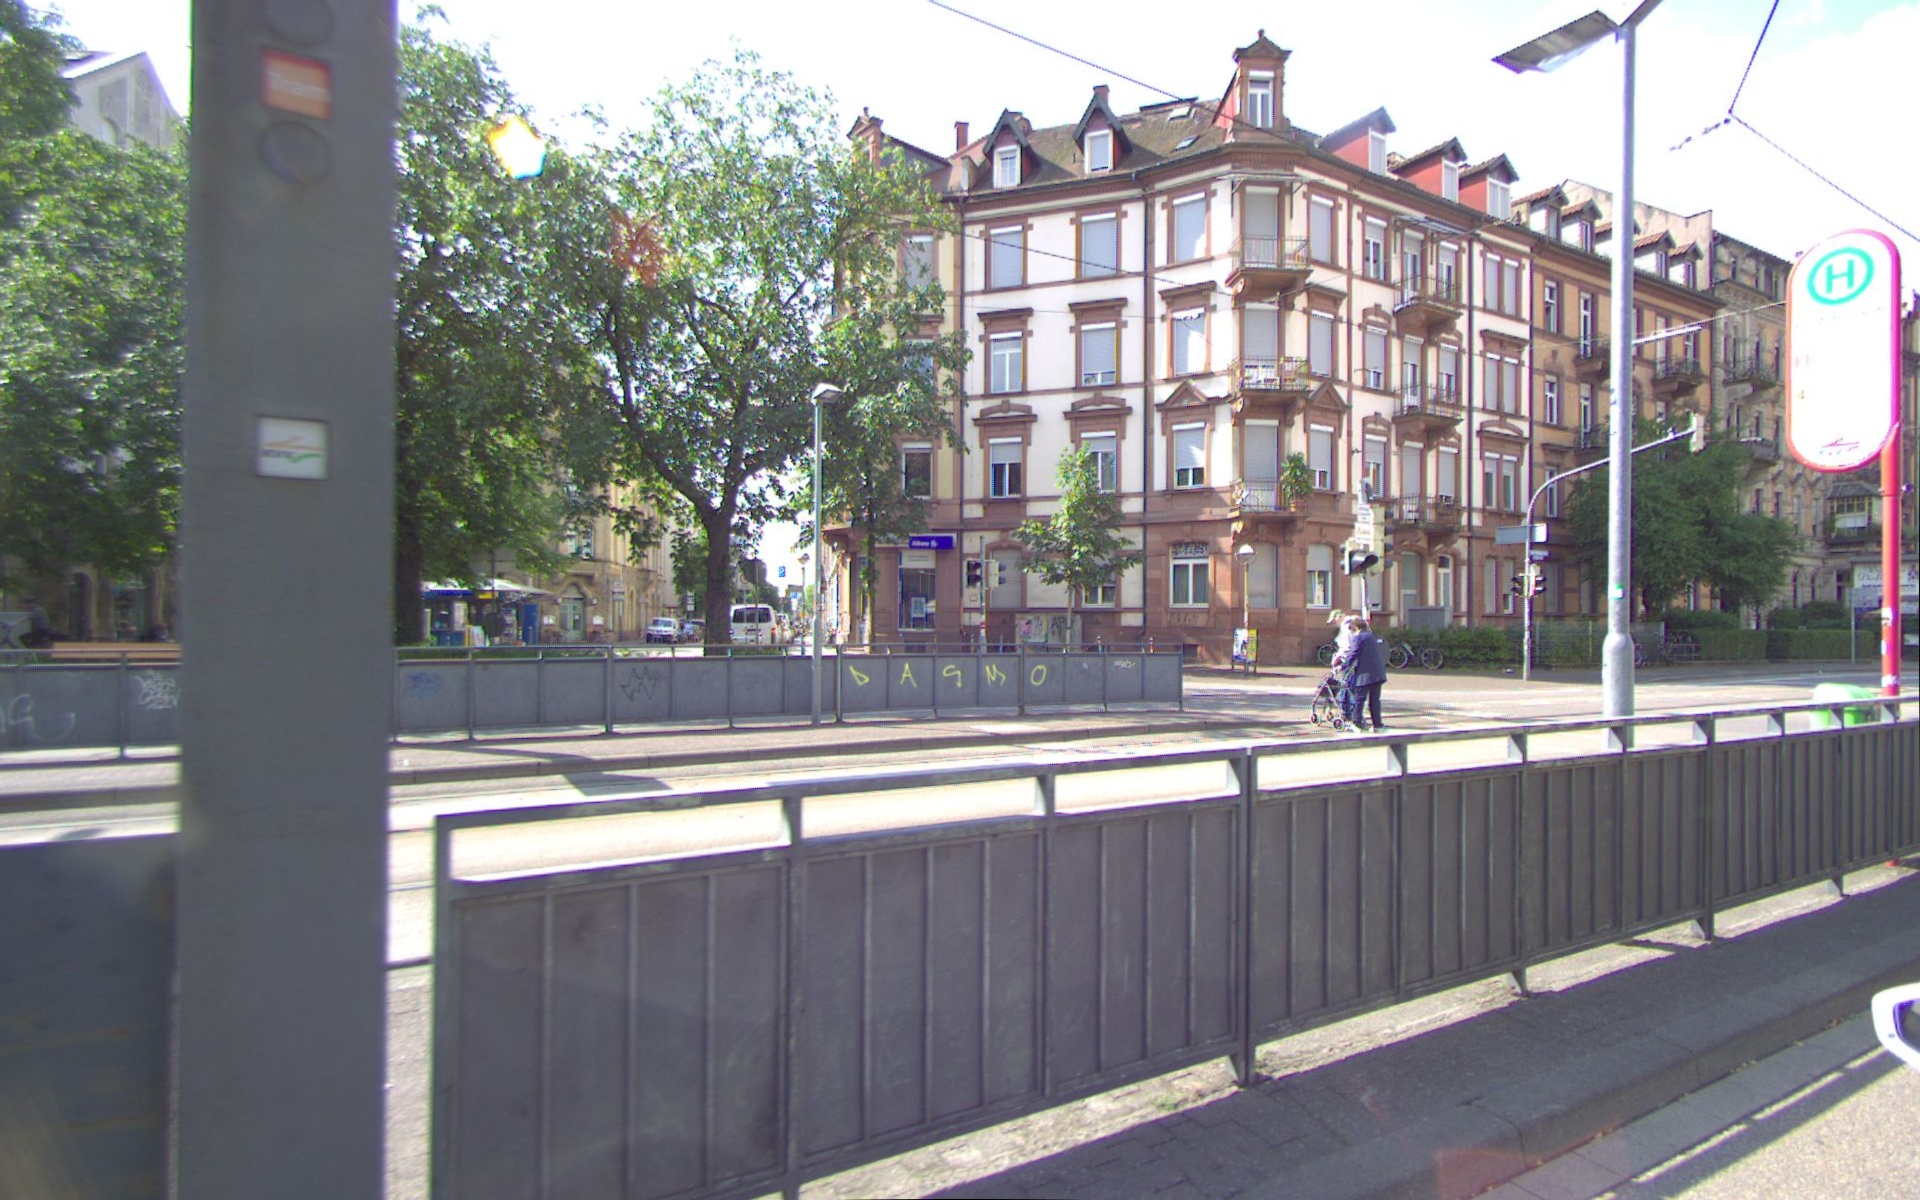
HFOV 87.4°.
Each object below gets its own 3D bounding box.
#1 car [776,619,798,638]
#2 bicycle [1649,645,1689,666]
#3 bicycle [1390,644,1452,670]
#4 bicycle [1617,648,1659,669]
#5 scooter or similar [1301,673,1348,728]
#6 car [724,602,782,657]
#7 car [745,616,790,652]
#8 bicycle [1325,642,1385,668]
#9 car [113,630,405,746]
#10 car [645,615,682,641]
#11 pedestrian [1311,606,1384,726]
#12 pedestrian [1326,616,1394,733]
[{"bbox_3d":[-17.279,2.803,100.486,1.963,1.884,3.995,1,-1,-8],"label":"car"},{"bbox_3d":[24.175,1.886,34.241,1.688,0.686,0.384,1,-1,-26],"label":"bicycle"},{"bbox_3d":[14.135,1.756,30.823,1.676,0.757,0.386,0,-1,6],"label":"bicycle"},{"bbox_3d":[22.329,1.915,33.072,1.688,0.662,0.384,1,-1,-26],"label":"bicycle"},{"bbox_3d":[5.181,1.418,14.277,0.481,0.730,0.412,1,-1,-31],"label":"scooter or similar"},{"bbox_3d":[-8.039,1.120,39.245,1.822,2.015,3.944,1,-1,-6],"label":"car"},{"bbox_3d":[-9.366,1.641,49.118,1.881,1.685,3.937,1,-1,-7],"label":"car"},{"bbox_3d":[12.181,1.693,31.004,1.676,0.757,0.386,0,-1,6],"label":"bicycle"},{"bbox_3d":[-11.885,1.426,17.382,3.953,1.800,1.672,1,-1,-30],"label":"car"},{"bbox_3d":[-21.046,1.967,71.508,1.963,1.795,3.994,1,-1,-8],"label":"car"},{"bbox_3d":[5.642,0.940,14.638,0.660,1.697,0.767,1,-1,-31],"label":"pedestrian"},{"bbox_3d":[5.511,1.006,13.843,0.574,1.566,0.664,1,-1,-31],"label":"pedestrian"}]
